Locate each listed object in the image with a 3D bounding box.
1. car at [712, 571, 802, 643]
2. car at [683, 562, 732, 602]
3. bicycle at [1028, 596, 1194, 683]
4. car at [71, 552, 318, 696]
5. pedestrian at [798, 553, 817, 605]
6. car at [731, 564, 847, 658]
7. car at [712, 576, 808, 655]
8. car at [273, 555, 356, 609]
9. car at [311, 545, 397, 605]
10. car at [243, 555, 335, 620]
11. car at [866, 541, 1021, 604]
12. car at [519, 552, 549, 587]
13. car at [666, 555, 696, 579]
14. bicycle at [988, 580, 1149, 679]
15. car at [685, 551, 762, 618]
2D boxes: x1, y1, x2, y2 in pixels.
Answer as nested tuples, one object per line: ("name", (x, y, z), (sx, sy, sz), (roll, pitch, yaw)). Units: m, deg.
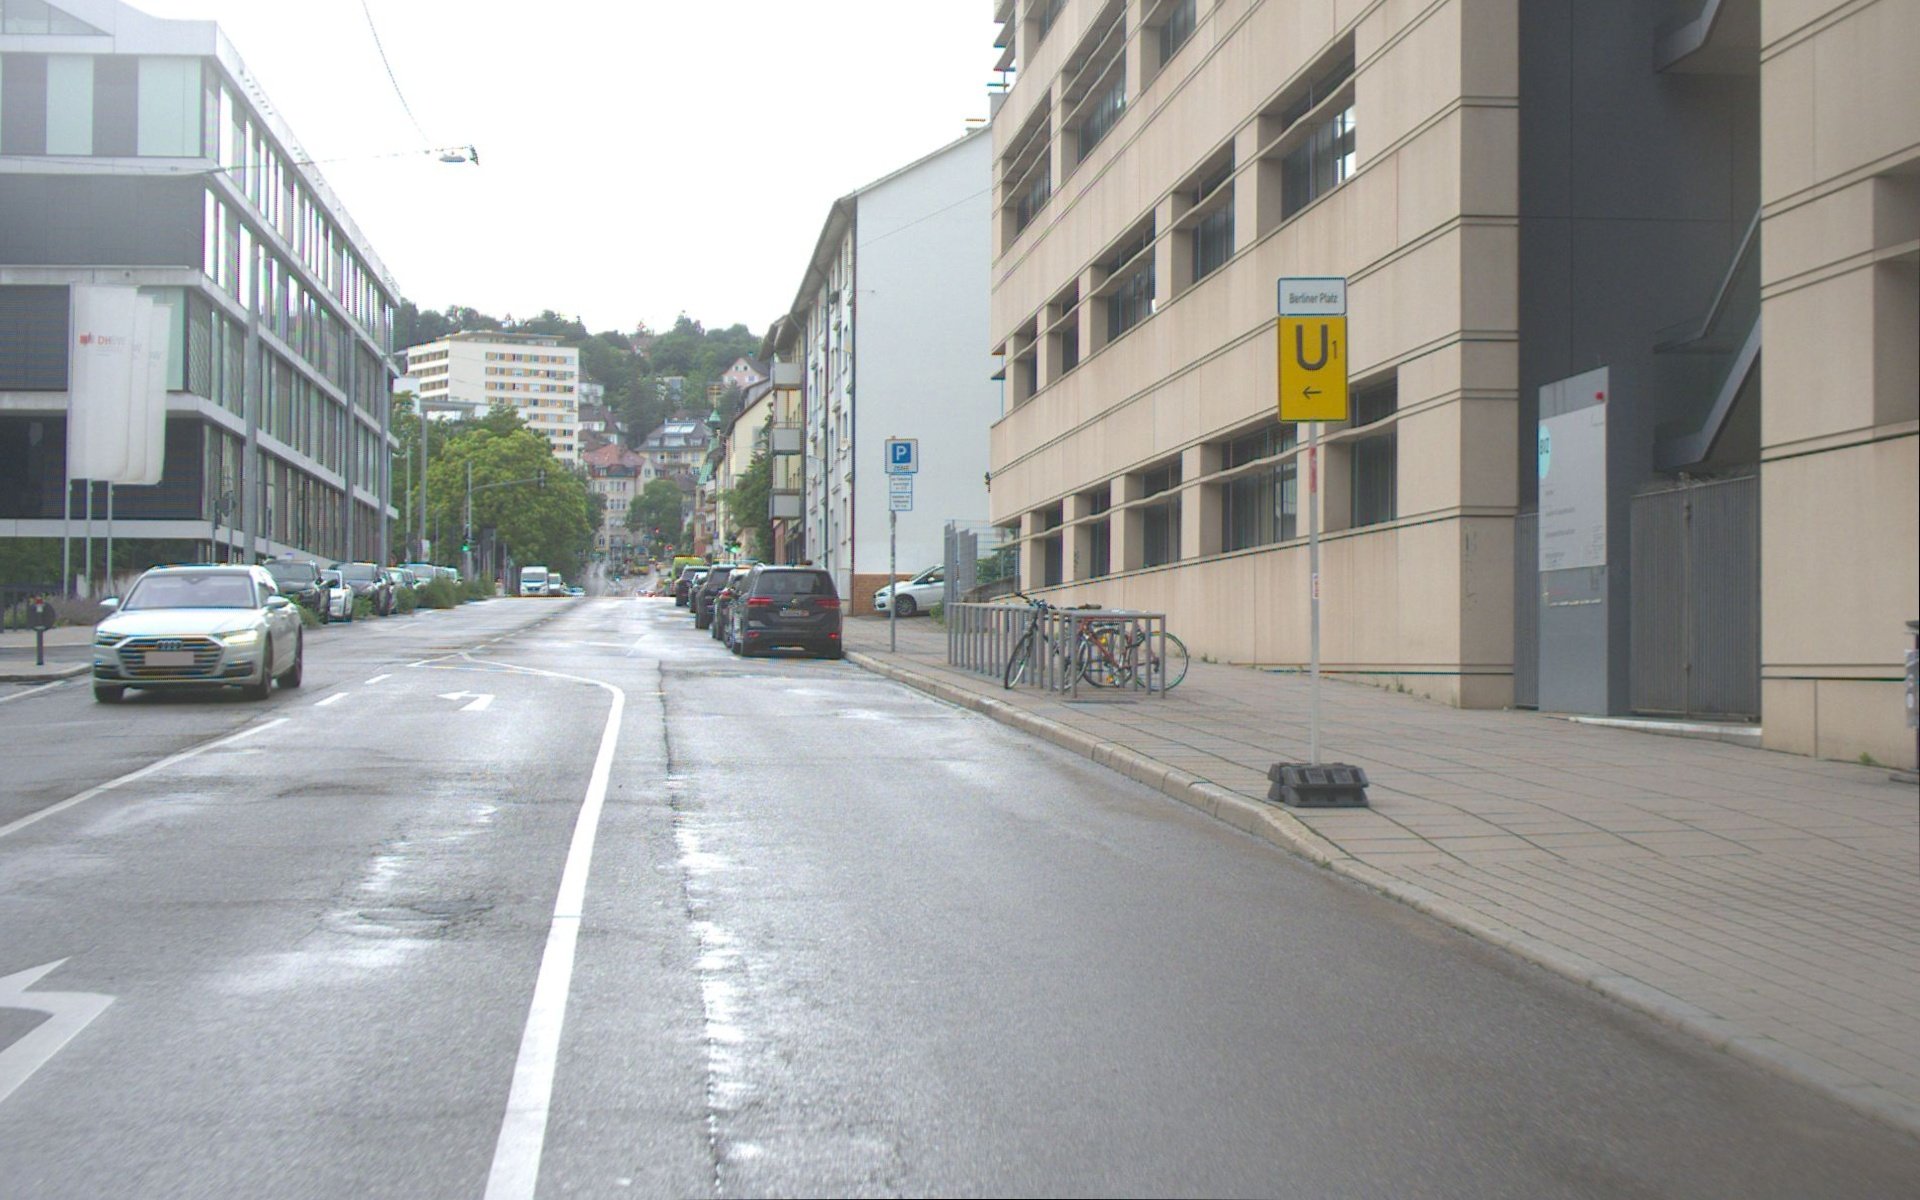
("car", (-4.604, 0.141, 77.410), (1.743, 1.528, 4.320), (1, 0, -7))
("car", (-9.470, -0.672, 128.699), (1.706, 1.449, 3.985), (1, 0, -5))
("bicycle", (1.678, 0.434, 38.332), (1.758, 0.950, 0.660), (0, 0, -8))
("car", (-8.747, 0.224, 39.704), (1.881, 1.486, 5.220), (-2, 1, -3))
("pedestrian", (-5.526, -0.760, 124.496), (0.639, 1.864, 0.538), (1, 0, -3))
("car", (-3.110, 0.182, 61.861), (1.770, 1.598, 4.395), (1, 0, -7))
("car", (-4.104, 0.312, 70.114), (1.725, 1.507, 4.058), (3, 0, -6))
("car", (-17.892, -0.498, 95.408), (1.820, 1.414, 4.403), (1, 0, -5))
("car", (-18.573, -0.761, 105.532), (1.962, 1.744, 4.942), (1, 0, -3))
("car", (-17.320, -0.329, 88.880), (1.849, 1.612, 4.491), (1, 0, -5))
("car", (-0.518, -0.836, 103.598), (4.437, 1.707, 1.905), (-2, 0, -6))
("car", (-31.641, -2.221, 255.118), (2.104, 2.538, 4.752), (1, 0, -7))
("car", (-19.129, -2.248, 235.814), (1.866, 1.598, 4.190), (1, 0, -2))
("bicycle", (1.236, 0.337, 39.277), (1.729, 1.115, 0.660), (0, 0, -10))
("car", (-6.496, -0.431, 94.211), (1.935, 1.744, 4.797), (1, 0, -5))
